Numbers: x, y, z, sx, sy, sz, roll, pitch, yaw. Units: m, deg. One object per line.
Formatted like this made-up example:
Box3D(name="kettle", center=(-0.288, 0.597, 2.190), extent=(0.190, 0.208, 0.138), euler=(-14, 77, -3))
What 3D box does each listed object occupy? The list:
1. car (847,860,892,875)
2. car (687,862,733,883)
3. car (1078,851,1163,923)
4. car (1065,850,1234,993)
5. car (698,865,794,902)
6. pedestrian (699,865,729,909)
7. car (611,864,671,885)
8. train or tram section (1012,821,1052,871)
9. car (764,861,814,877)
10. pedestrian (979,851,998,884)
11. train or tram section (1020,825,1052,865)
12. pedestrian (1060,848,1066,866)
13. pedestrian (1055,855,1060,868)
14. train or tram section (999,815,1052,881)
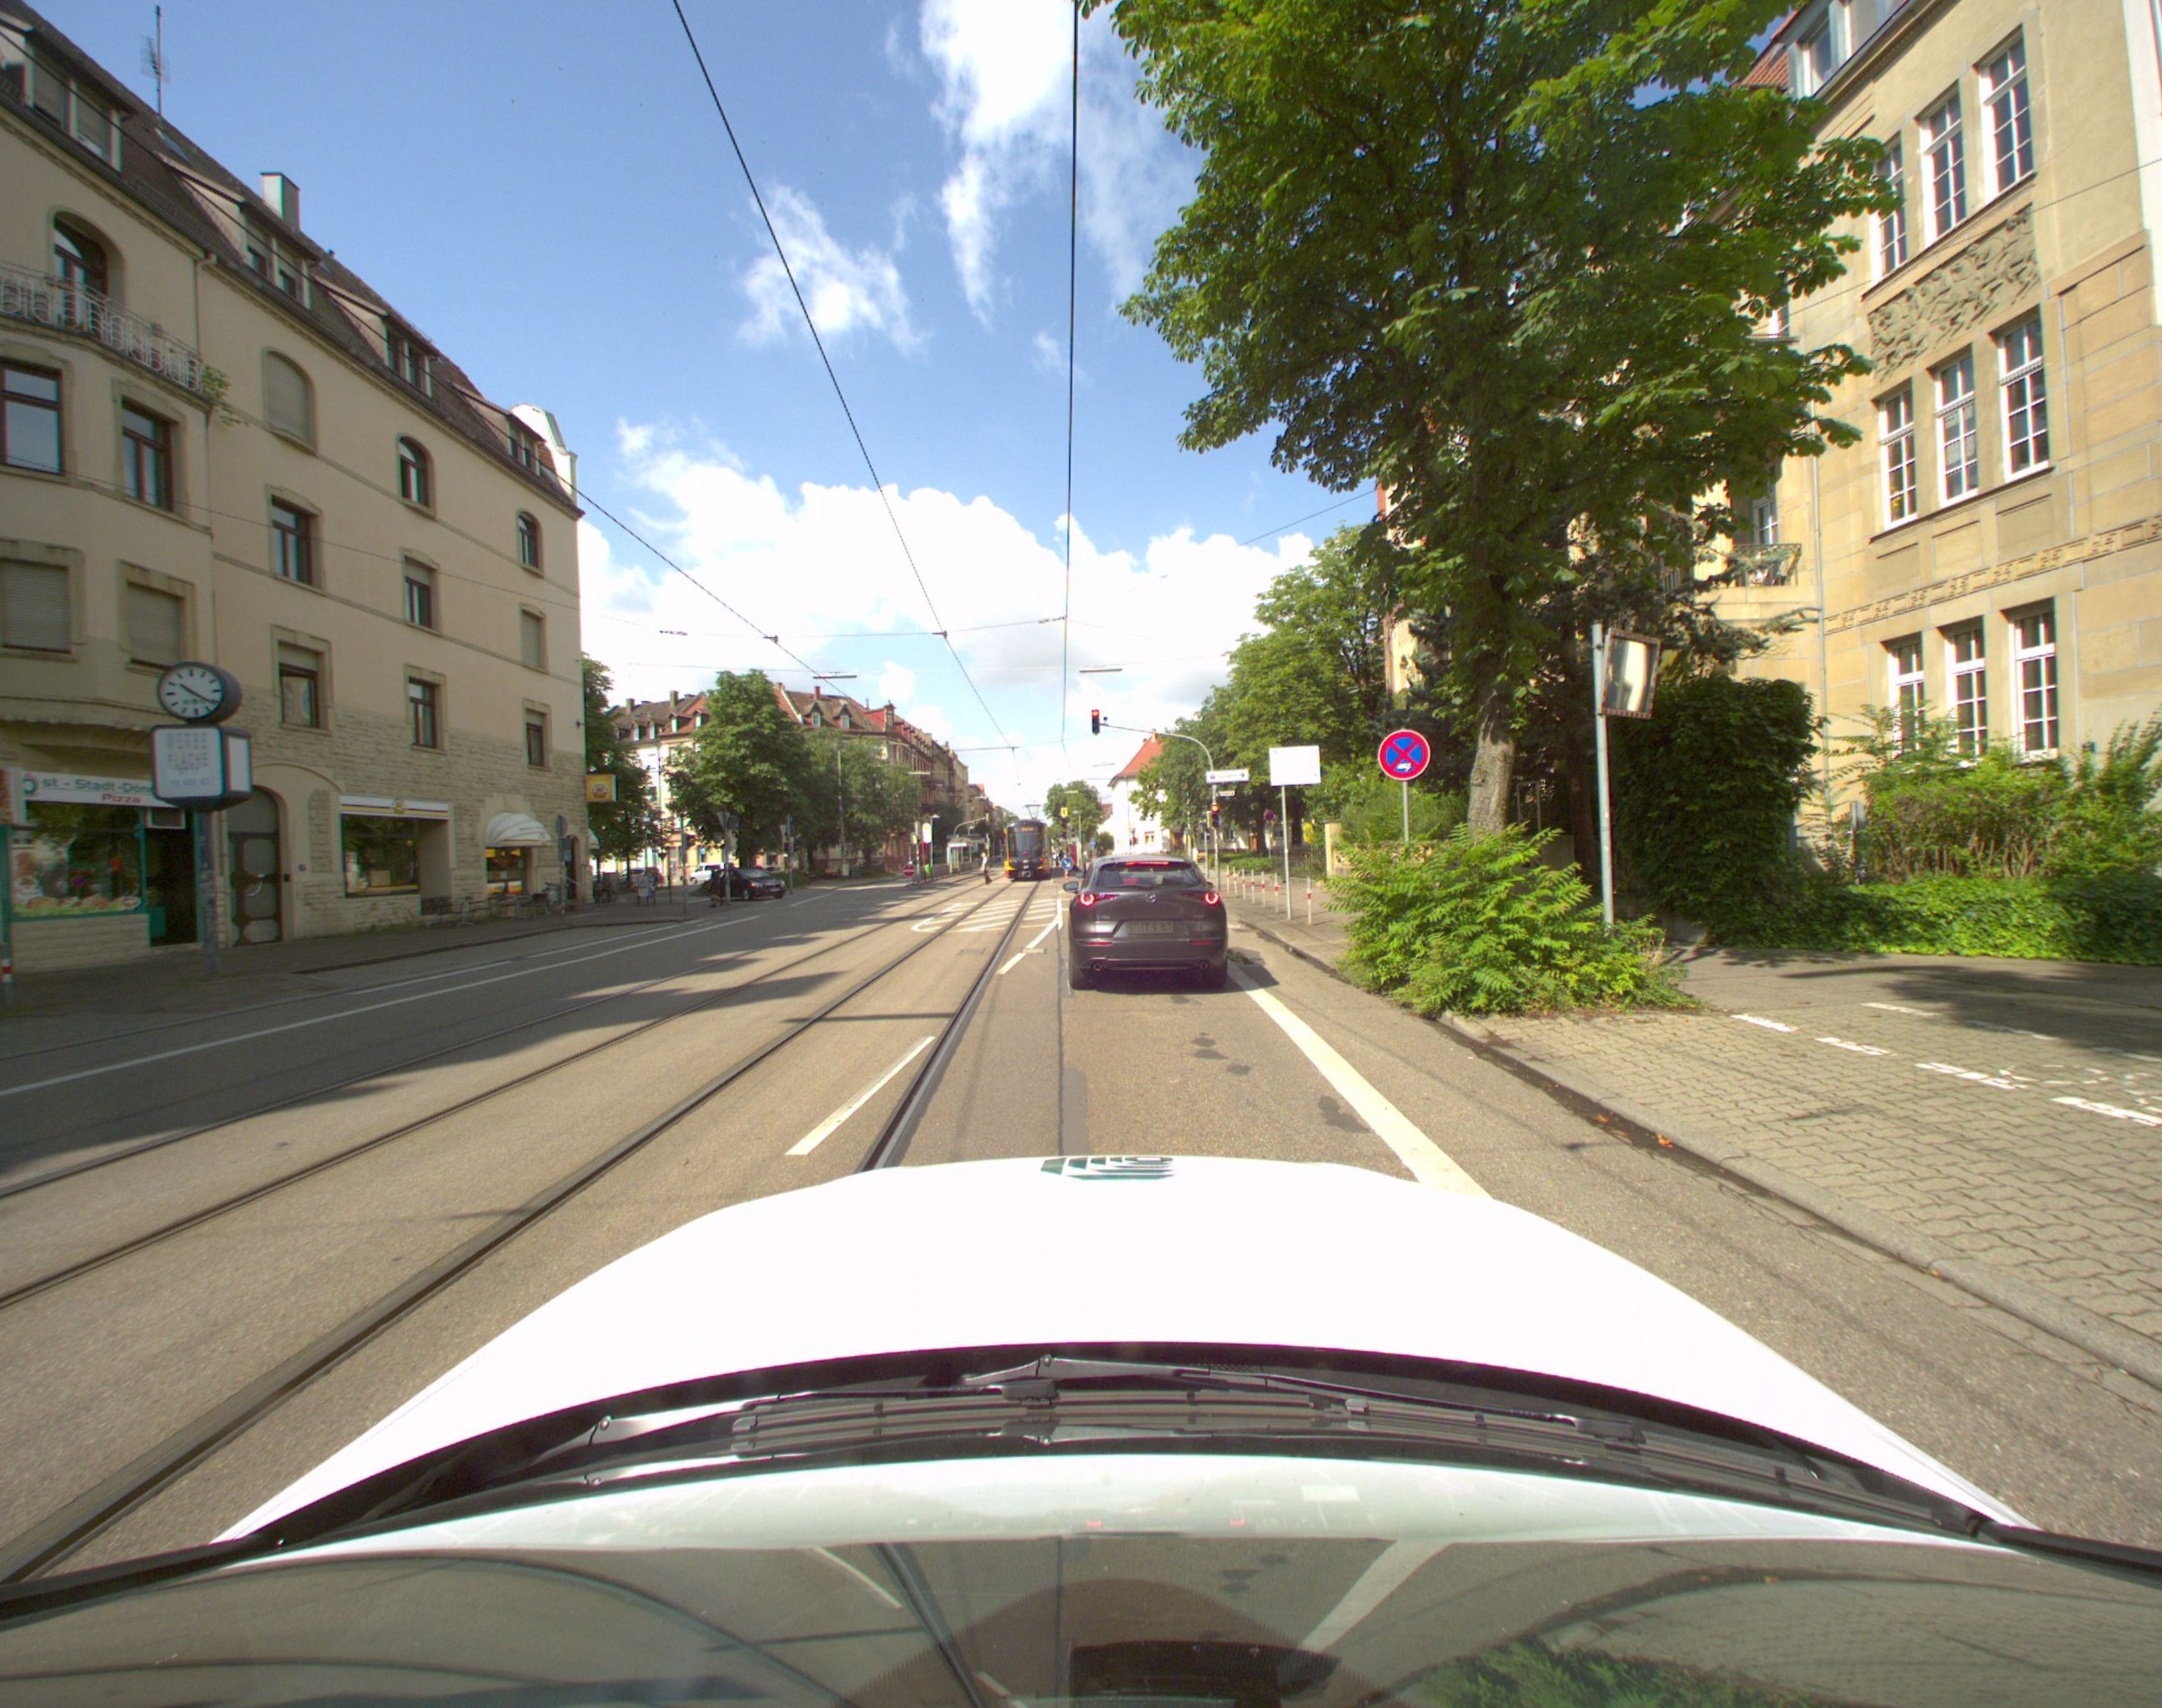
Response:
Box3D(name="car", center=(-21.059, 1.341, 81.233), extent=(4.011, 1.360, 1.663), euler=(-2, 0, -29))
Box3D(name="car", center=(-36.845, 1.877, 80.956), extent=(3.950, 1.903, 2.012), euler=(-2, 0, 26))
Box3D(name="car", center=(0.893, 0.697, 19.201), extent=(1.772, 1.499, 4.001), euler=(0, 0, 1))
Box3D(name="car", center=(0.776, 0.705, 10.590), extent=(1.772, 1.499, 4.001), euler=(0, 0, 1))
Box3D(name="car", center=(-15.525, 1.379, 37.767), extent=(4.019, 1.518, 1.771), euler=(-2, 0, 24))
Box3D(name="pedestrian", center=(-14.515, 1.283, 32.239), extent=(0.746, 1.684, 0.702), euler=(-2, 0, 11))
Box3D(name="car", center=(-37.275, 1.710, 69.045), extent=(3.971, 1.596, 2.001), euler=(-3, 0, 2))
Box3D(name="train or tram section", center=(-3.819, -0.691, 65.981), extent=(2.746, 3.490, 14.397), euler=(-2, 1, -2))
Box3D(name="car", center=(-26.928, 1.369, 75.203), extent=(1.656, 1.360, 4.026), euler=(-2, 0, 35))
Box3D(name="pedestrian", center=(-4.883, 0.699, 43.034), extent=(0.713, 1.705, 0.825), euler=(-2, 0, 6))
Box3D(name="train or tram section", center=(-4.327, -0.963, 80.381), extent=(2.746, 3.490, 14.397), euler=(-2, 1, -2))
Box3D(name="pedestrian", center=(-1.491, 0.271, 66.520), extent=(0.449, 1.434, 0.474), euler=(-2, 0, -3))
Box3D(name="pedestrian", center=(-1.942, 0.607, 66.403), extent=(0.378, 1.071, 0.474), euler=(-2, 0, -1))
Box3D(name="train or tram section", center=(-3.292, -0.441, 51.602), extent=(2.746, 3.490, 14.397), euler=(-2, 1, -2))
